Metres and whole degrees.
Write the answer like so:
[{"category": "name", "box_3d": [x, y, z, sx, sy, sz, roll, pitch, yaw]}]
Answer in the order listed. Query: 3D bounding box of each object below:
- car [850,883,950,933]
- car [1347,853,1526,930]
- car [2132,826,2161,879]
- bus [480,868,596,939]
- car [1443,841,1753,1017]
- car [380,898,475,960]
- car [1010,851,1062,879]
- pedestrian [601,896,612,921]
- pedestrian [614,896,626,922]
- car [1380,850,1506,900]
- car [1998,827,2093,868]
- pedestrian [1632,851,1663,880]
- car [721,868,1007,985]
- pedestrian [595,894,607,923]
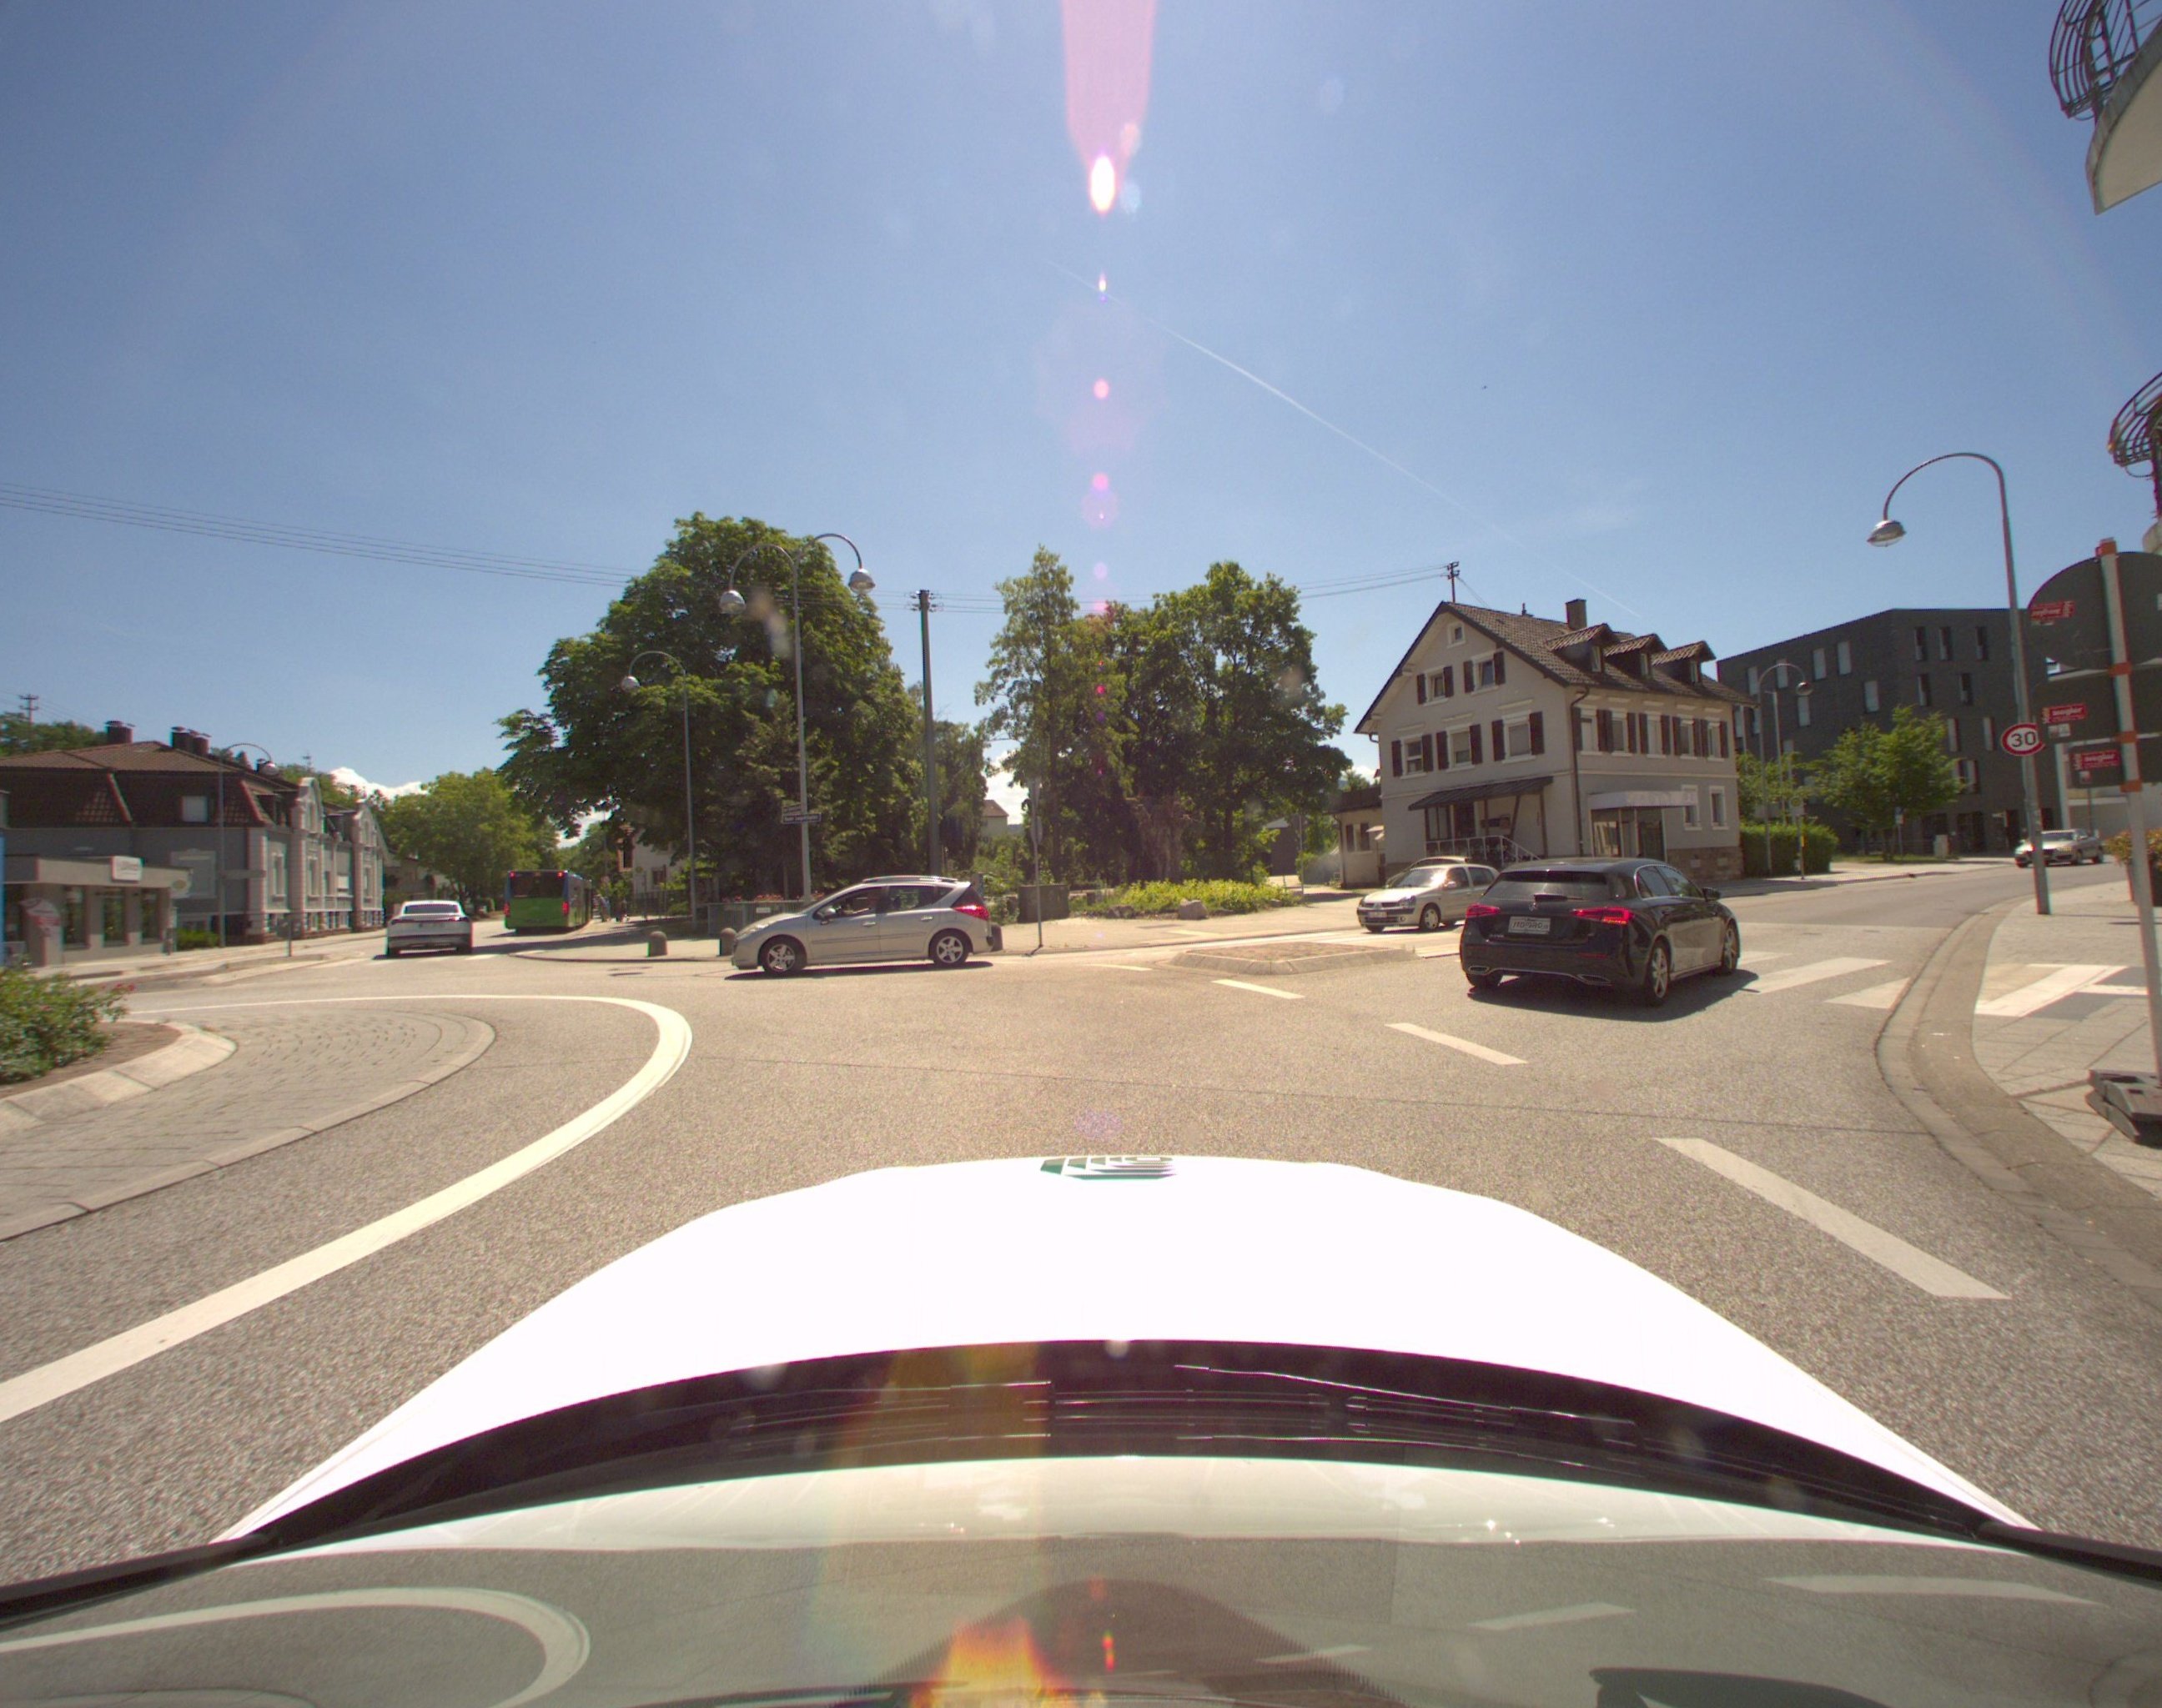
[{"category": "car", "box_3d": [-6.505, 1.914, 29.424, 3.077, 1.553, 1.614, -2, -1, -44]}, {"category": "car", "box_3d": [7.853, 0.824, 17.960, 3.728, 1.413, 1.535, -2, -4, -28]}, {"category": "car", "box_3d": [32.343, -0.141, 23.463, 4.009, 1.486, 1.740, -2, -3, -27]}, {"category": "bus", "box_3d": [-29.709, 2.720, 45.508, 3.728, 3.172, 17.898, 0, -3, -28]}, {"category": "car", "box_3d": [6.021, 0.623, 9.249, 4.462, 1.457, 1.748, -2, 2, -40]}, {"category": "car", "box_3d": [-19.575, 2.175, 24.565, 1.912, 1.662, 4.361, 1, -3, -35]}, {"category": "car", "box_3d": [-3.604, 0.858, 64.873, 3.979, 2.014, 1.997, -3, -1, -4]}, {"category": "pedestrian", "box_3d": [-28.828, 3.309, 49.494, 0.492, 1.522, 0.536, -2, -2, -36]}, {"category": "pedestrian", "box_3d": [-26.584, 3.163, 46.930, 0.493, 1.454, 0.525, -2, -2, -36]}, {"category": "car", "box_3d": [13.212, 0.796, 29.980, 1.762, 1.640, 3.964, -2, -1, -27]}, {"category": "car", "box_3d": [43.044, -0.290, 36.332, 4.092, 1.543, 1.665, -2, -4, -26]}, {"category": "pedestrian", "box_3d": [21.004, 0.427, 30.186, 0.702, 1.054, 0.665, -2, -2, -32]}, {"category": "car", "box_3d": [-3.463, 1.104, 13.373, 4.202, 1.516, 1.737, -3, -1, -15]}, {"category": "pedestrian", "box_3d": [-28.686, 3.243, 48.657, 0.506, 1.650, 0.573, -2, -2, -36]}]
